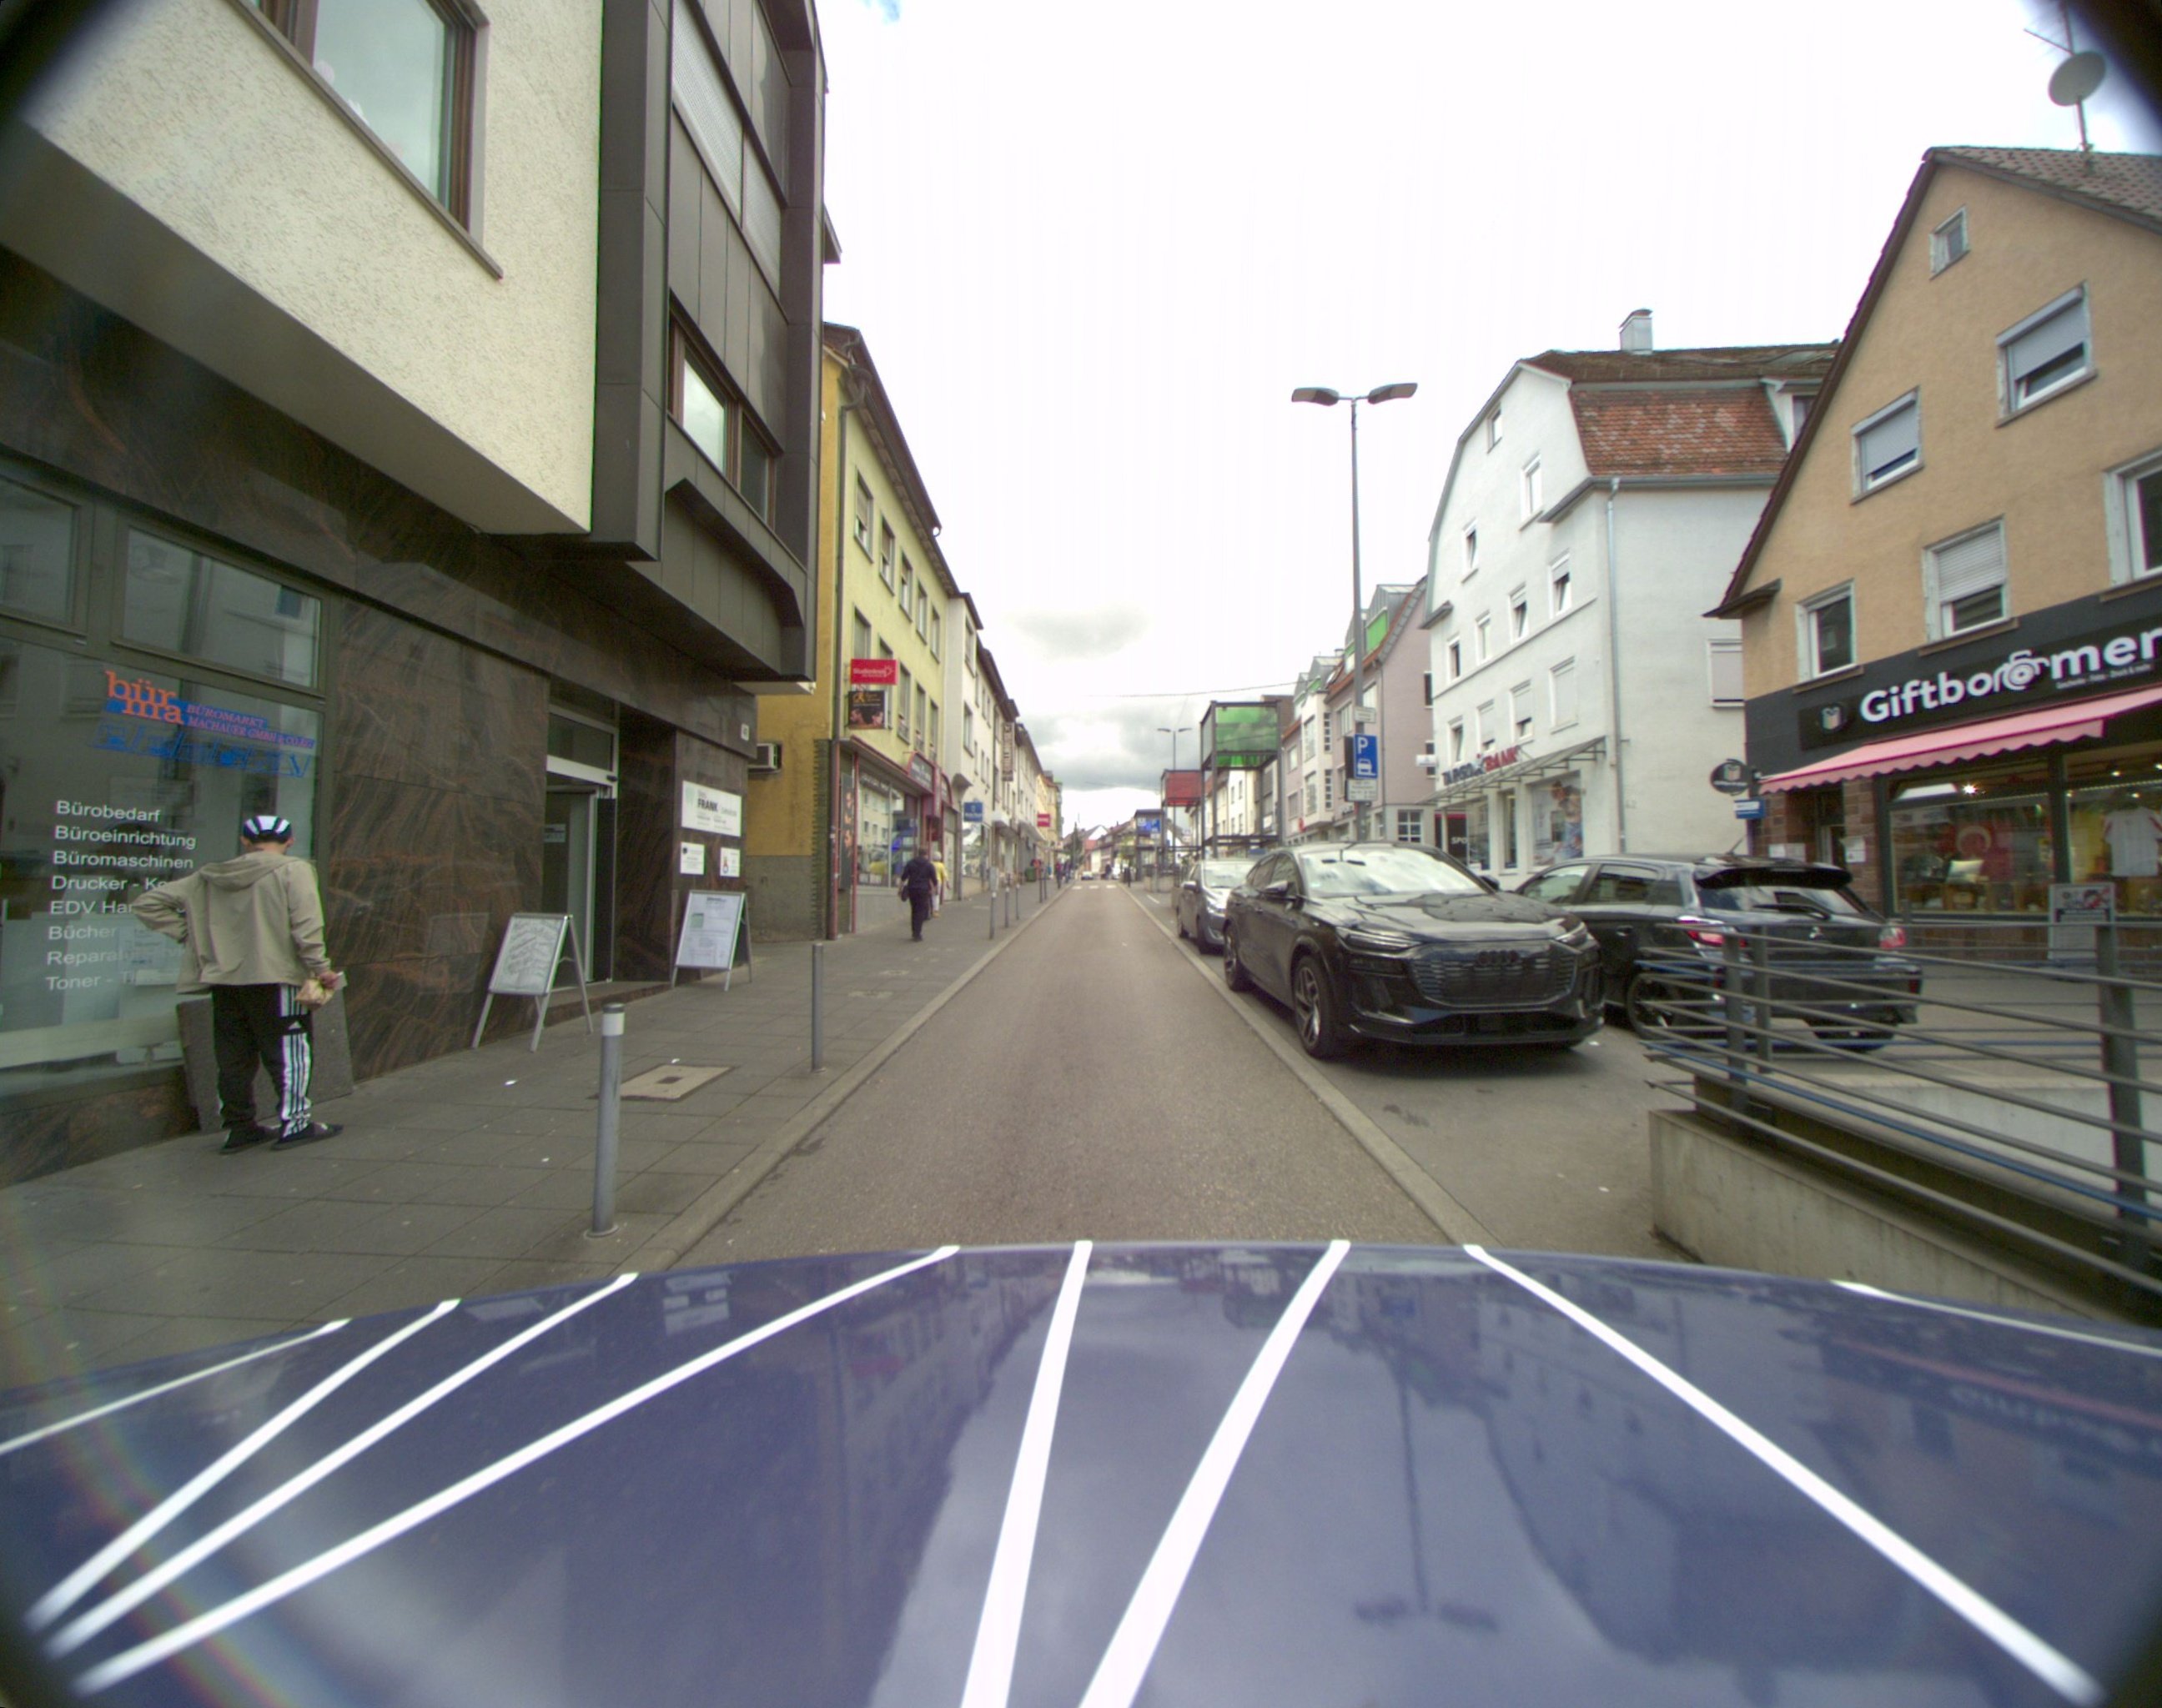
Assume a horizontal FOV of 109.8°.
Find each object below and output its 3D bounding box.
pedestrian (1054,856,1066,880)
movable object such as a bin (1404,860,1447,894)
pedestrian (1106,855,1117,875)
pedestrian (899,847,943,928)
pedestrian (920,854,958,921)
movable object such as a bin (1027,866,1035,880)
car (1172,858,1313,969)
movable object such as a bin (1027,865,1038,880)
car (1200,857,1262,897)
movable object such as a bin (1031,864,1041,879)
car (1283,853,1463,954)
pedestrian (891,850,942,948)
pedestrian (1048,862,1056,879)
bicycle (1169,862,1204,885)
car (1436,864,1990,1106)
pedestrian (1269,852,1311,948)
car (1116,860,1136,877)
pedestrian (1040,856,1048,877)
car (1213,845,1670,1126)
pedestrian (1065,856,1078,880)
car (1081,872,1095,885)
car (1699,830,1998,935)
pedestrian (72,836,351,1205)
[{"bbox_3d":[-1.472,0.997,53.952,0.740,1.660,0.627,2,0,-8],"label":"pedestrian"},{"bbox_3d":[14.272,0.925,31.541,1.286,1.368,1.067,-1,0,1],"label":"movable object such as a bin"},{"bbox_3d":[2.672,0.955,66.886,0.759,1.715,0.756,3,0,-4],"label":"pedestrian"},{"bbox_3d":[-3.581,0.742,17.076,0.713,1.743,0.785,4,0,1],"label":"pedestrian"},{"bbox_3d":[-3.537,0.816,18.981,0.713,1.621,0.835,2,0,1],"label":"pedestrian"},{"bbox_3d":[-3.467,1.340,52.749,0.568,0.951,0.498,0,0,1],"label":"movable object such as a bin"},{"bbox_3d":[2.561,0.877,12.868,1.624,1.523,3.670,-2,0,1],"label":"car"},{"bbox_3d":[-3.404,1.282,53.361,0.670,1.024,0.560,0,0,1],"label":"movable object such as a bin"},{"bbox_3d":[5.953,0.881,30.531,1.573,1.466,3.855,0,0,-2],"label":"car"},{"bbox_3d":[-3.203,1.260,54.081,0.652,1.074,0.673,0,0,1],"label":"movable object such as a bin"},{"bbox_3d":[5.186,0.779,14.140,1.743,1.534,4.193,-2,0,1],"label":"car"},{"bbox_3d":[-3.023,0.810,14.019,0.713,1.743,0.787,1,0,1],"label":"pedestrian"},{"bbox_3d":[-2.876,1.643,75.347,0.627,1.620,0.607,-2,1,-4],"label":"pedestrian"},{"bbox_3d":[5.474,1.011,39.435,1.782,1.216,0.460,0,1,0],"label":"bicycle"},{"bbox_3d":[5.062,0.887,6.937,1.743,1.467,3.883,3,0,0],"label":"car"},{"bbox_3d":[3.767,0.804,13.714,0.535,1.662,0.901,-1,0,4],"label":"pedestrian"},{"bbox_3d":[4.281,1.380,72.769,1.754,1.452,3.601,-2,0,2],"label":"car"},{"bbox_3d":[-3.019,1.019,62.011,0.627,1.715,0.607,2,0,-4],"label":"pedestrian"},{"bbox_3d":[2.559,0.788,6.745,1.961,1.630,4.314,-2,0,0],"label":"car"},{"bbox_3d":[-0.685,0.967,54.023,0.740,1.660,0.786,2,0,-8],"label":"pedestrian"},{"bbox_3d":[0.963,3.418,105.194,1.741,1.608,3.843,-2,0,1],"label":"car"},{"bbox_3d":[15.639,0.569,15.677,4.080,1.862,1.884,-3,0,3],"label":"car"},{"bbox_3d":[-4.248,0.775,3.760,0.665,1.679,0.543,3,0,-5],"label":"pedestrian"}]
